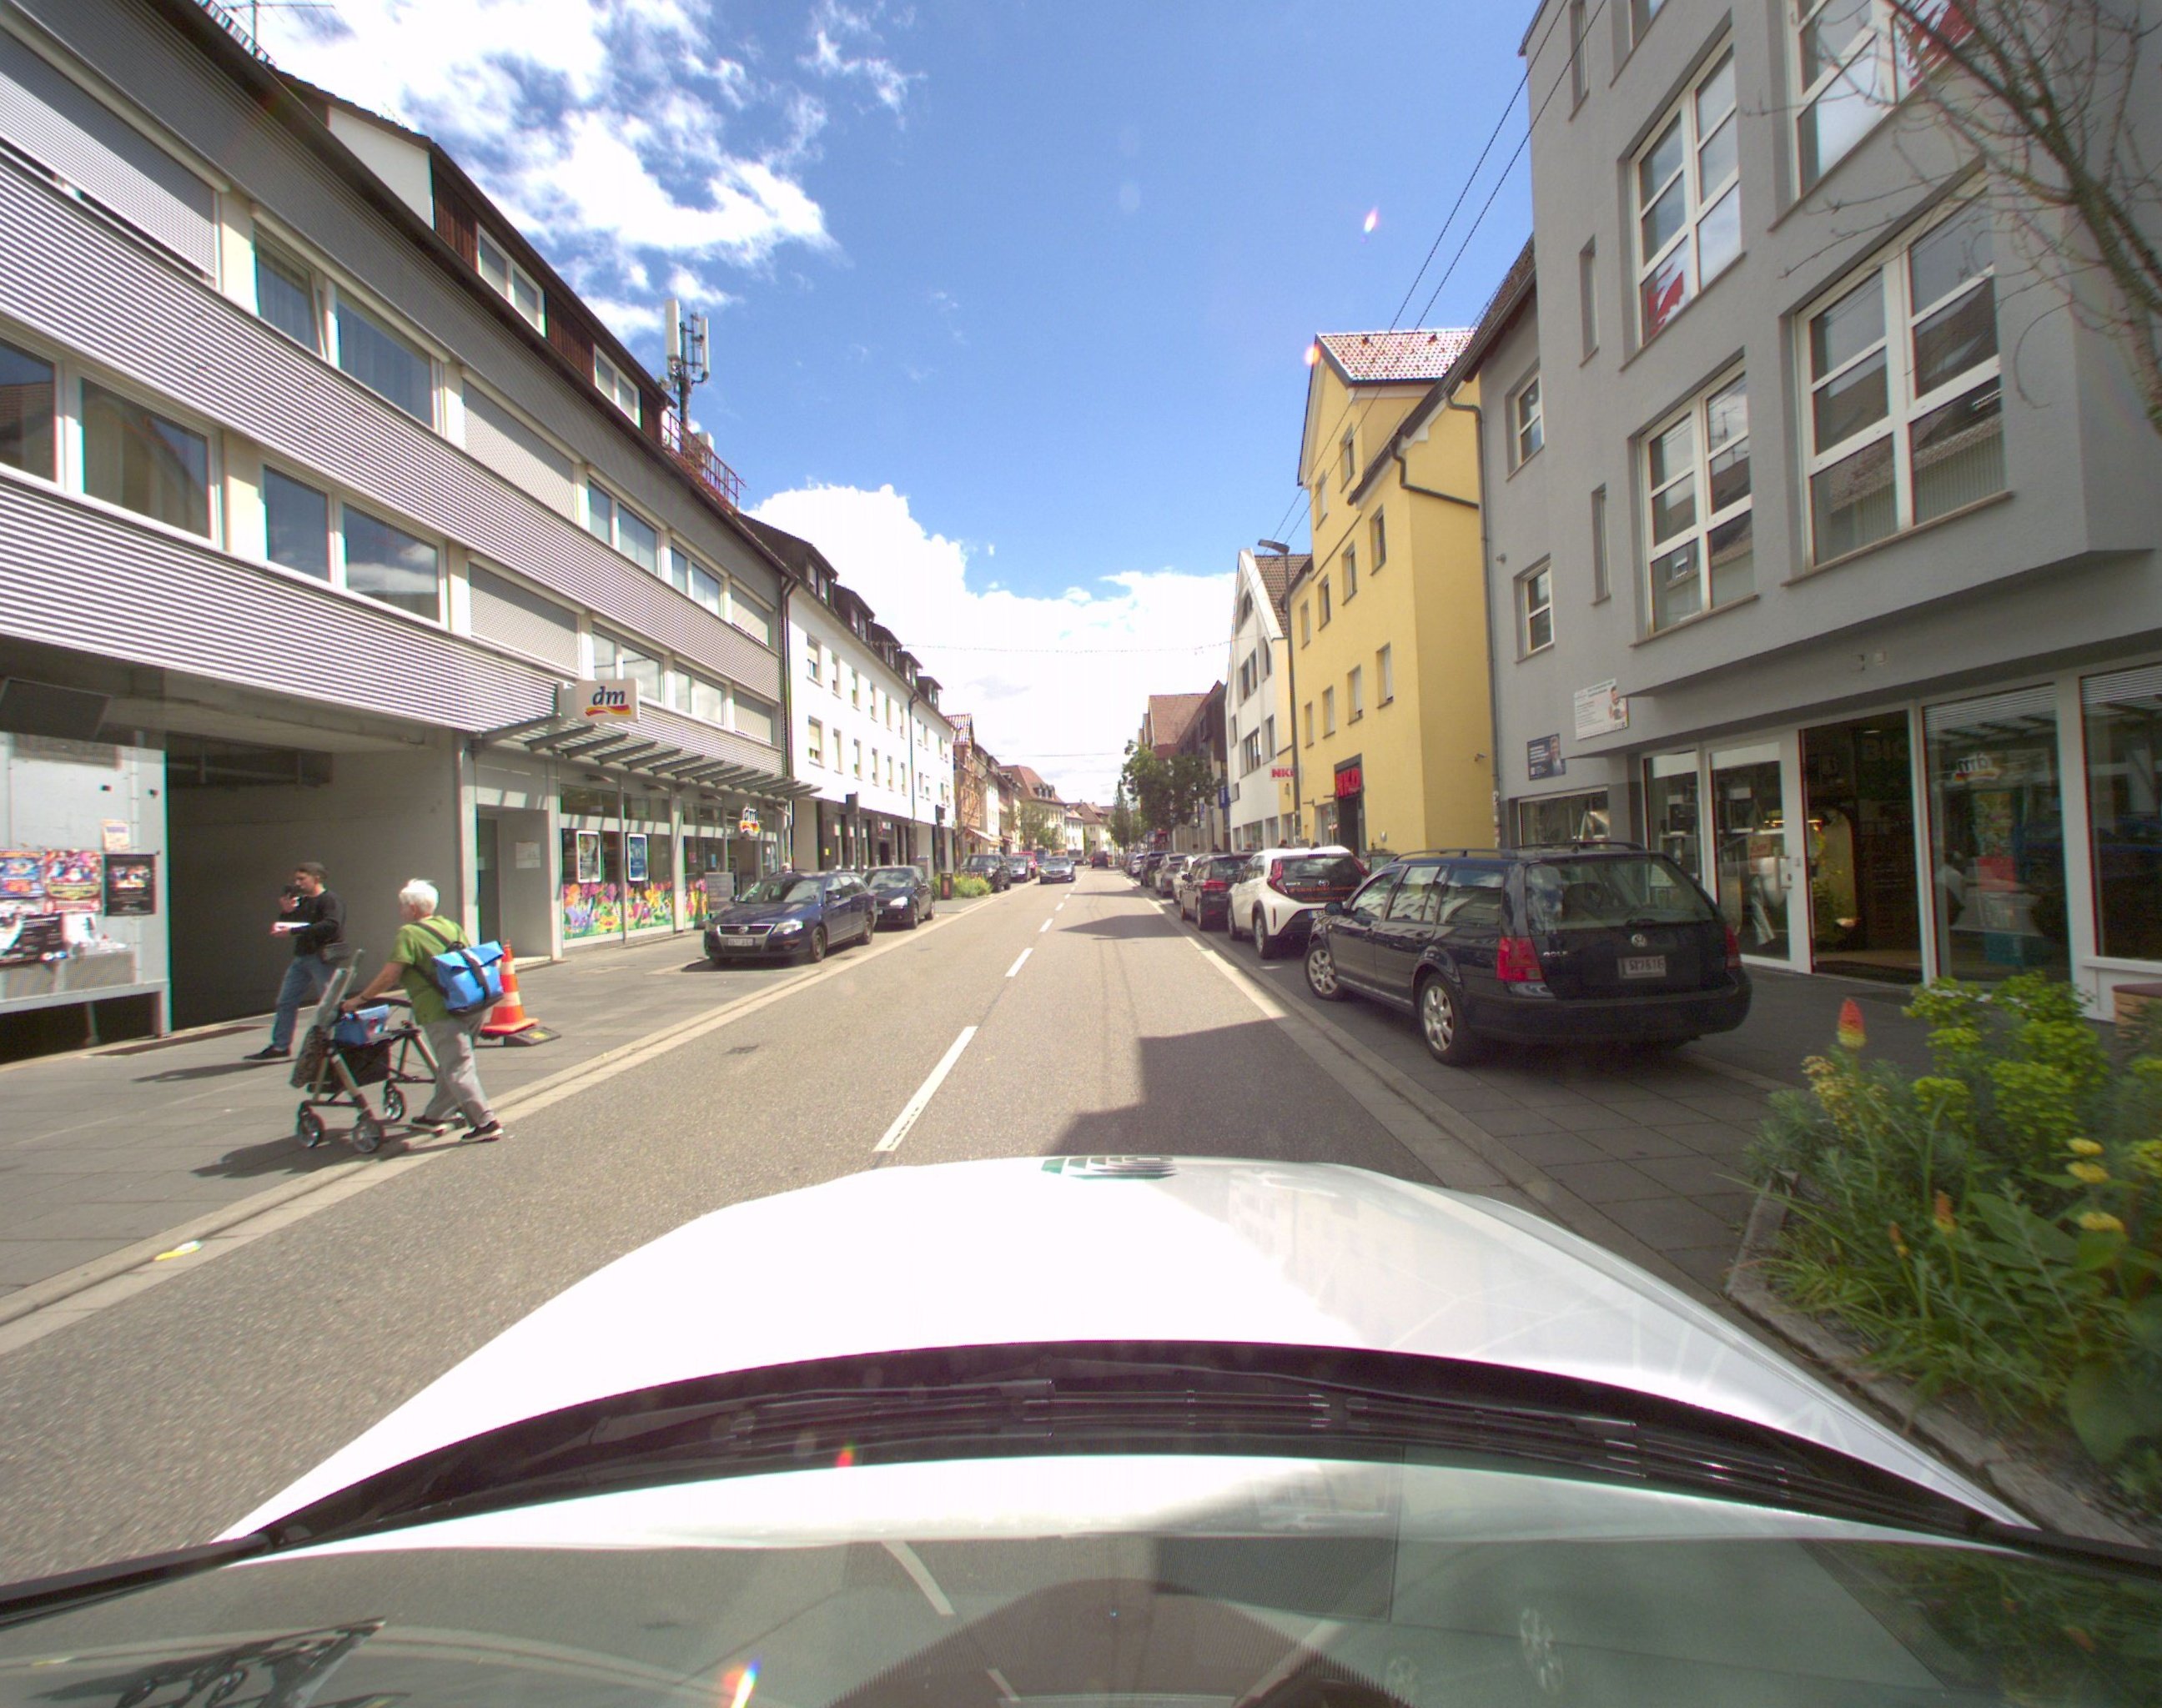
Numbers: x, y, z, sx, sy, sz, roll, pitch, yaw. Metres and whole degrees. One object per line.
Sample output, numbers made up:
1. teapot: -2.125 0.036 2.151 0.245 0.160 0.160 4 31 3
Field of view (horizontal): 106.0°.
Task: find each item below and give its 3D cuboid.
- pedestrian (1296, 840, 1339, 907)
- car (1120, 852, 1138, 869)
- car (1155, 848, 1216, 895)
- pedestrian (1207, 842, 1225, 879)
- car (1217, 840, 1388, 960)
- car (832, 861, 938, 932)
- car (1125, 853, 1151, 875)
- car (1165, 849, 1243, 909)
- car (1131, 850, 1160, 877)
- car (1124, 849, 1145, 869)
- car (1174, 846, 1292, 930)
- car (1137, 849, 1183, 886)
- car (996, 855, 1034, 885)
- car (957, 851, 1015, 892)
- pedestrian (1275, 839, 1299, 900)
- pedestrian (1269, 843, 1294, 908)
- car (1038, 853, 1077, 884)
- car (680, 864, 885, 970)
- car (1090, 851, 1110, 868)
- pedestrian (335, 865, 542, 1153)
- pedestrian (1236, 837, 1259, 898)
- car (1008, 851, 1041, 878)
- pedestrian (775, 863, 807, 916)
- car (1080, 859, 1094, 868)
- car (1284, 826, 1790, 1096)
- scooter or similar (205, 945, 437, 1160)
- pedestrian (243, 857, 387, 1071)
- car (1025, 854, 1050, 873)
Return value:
1. pedestrian: 5.667 0.458 19.545 0.747 1.553 0.726 -2 -1 0
2. car: 4.692 0.662 80.030 1.603 1.495 3.797 -5 0 3
3. car: 3.500 0.589 27.886 1.714 1.476 4.356 0 -1 2
4. pedestrian: 6.563 0.321 39.594 0.738 1.737 0.757 0 -1 1
5. car: 3.240 0.638 12.647 1.683 1.574 3.756 0 -1 1
6. car: -4.776 0.969 20.407 1.785 1.503 4.175 0 0 -2
7. car: 3.989 0.722 57.256 1.714 1.494 4.111 0 -1 2
8. car: 3.314 0.661 22.758 1.624 1.476 4.960 0 -1 3
9. car: 4.046 0.613 51.659 1.714 1.577 4.431 0 -1 2
10. car: 4.465 0.405 68.184 1.603 1.532 3.797 -3 0 3
11. car: 3.035 0.601 17.153 1.683 1.472 4.524 0 1 0
12. car: 3.531 0.612 37.064 1.715 1.577 4.109 0 -1 1
13. car: -4.036 0.958 50.370 1.809 1.755 4.466 0 -1 3
14. car: -4.289 0.770 37.389 1.808 1.755 4.673 0 -1 4
15. pedestrian: 6.317 0.469 25.027 0.585 1.841 0.576 0 -1 1
16. pedestrian: 5.737 0.620 23.306 0.585 1.841 0.576 0 -1 1
17. car: -1.282 0.805 46.573 1.898 1.563 4.647 -4 -1 1
18. car: -5.058 0.979 14.615 1.783 1.513 4.714 -1 0 2
19. car: 2.124 0.626 91.554 2.034 1.848 4.997 0 -1 -1
20. pedestrian: -3.867 0.880 4.958 0.730 1.618 0.650 0 -1 -4
21. pedestrian: 5.107 0.404 25.050 0.585 1.841 0.576 0 -1 1
22. car: -3.993 0.752 58.407 1.809 1.889 4.843 0 -1 2
23. pedestrian: -8.019 0.979 22.525 0.652 1.455 0.563 0 -1 1
24. car: 1.039 1.677 139.428 1.613 1.486 3.818 -1 -1 13
25. car: 3.210 0.649 6.902 1.685 1.440 4.292 -4 -1 -2
26. scooter or similar: -4.528 1.150 4.908 0.780 1.126 0.629 0 -1 -4
27. pedestrian: -6.646 0.912 7.106 0.546 1.757 0.728 0 -1 -2
28. car: -3.754 0.823 70.915 1.793 1.598 4.390 -1 0 1
